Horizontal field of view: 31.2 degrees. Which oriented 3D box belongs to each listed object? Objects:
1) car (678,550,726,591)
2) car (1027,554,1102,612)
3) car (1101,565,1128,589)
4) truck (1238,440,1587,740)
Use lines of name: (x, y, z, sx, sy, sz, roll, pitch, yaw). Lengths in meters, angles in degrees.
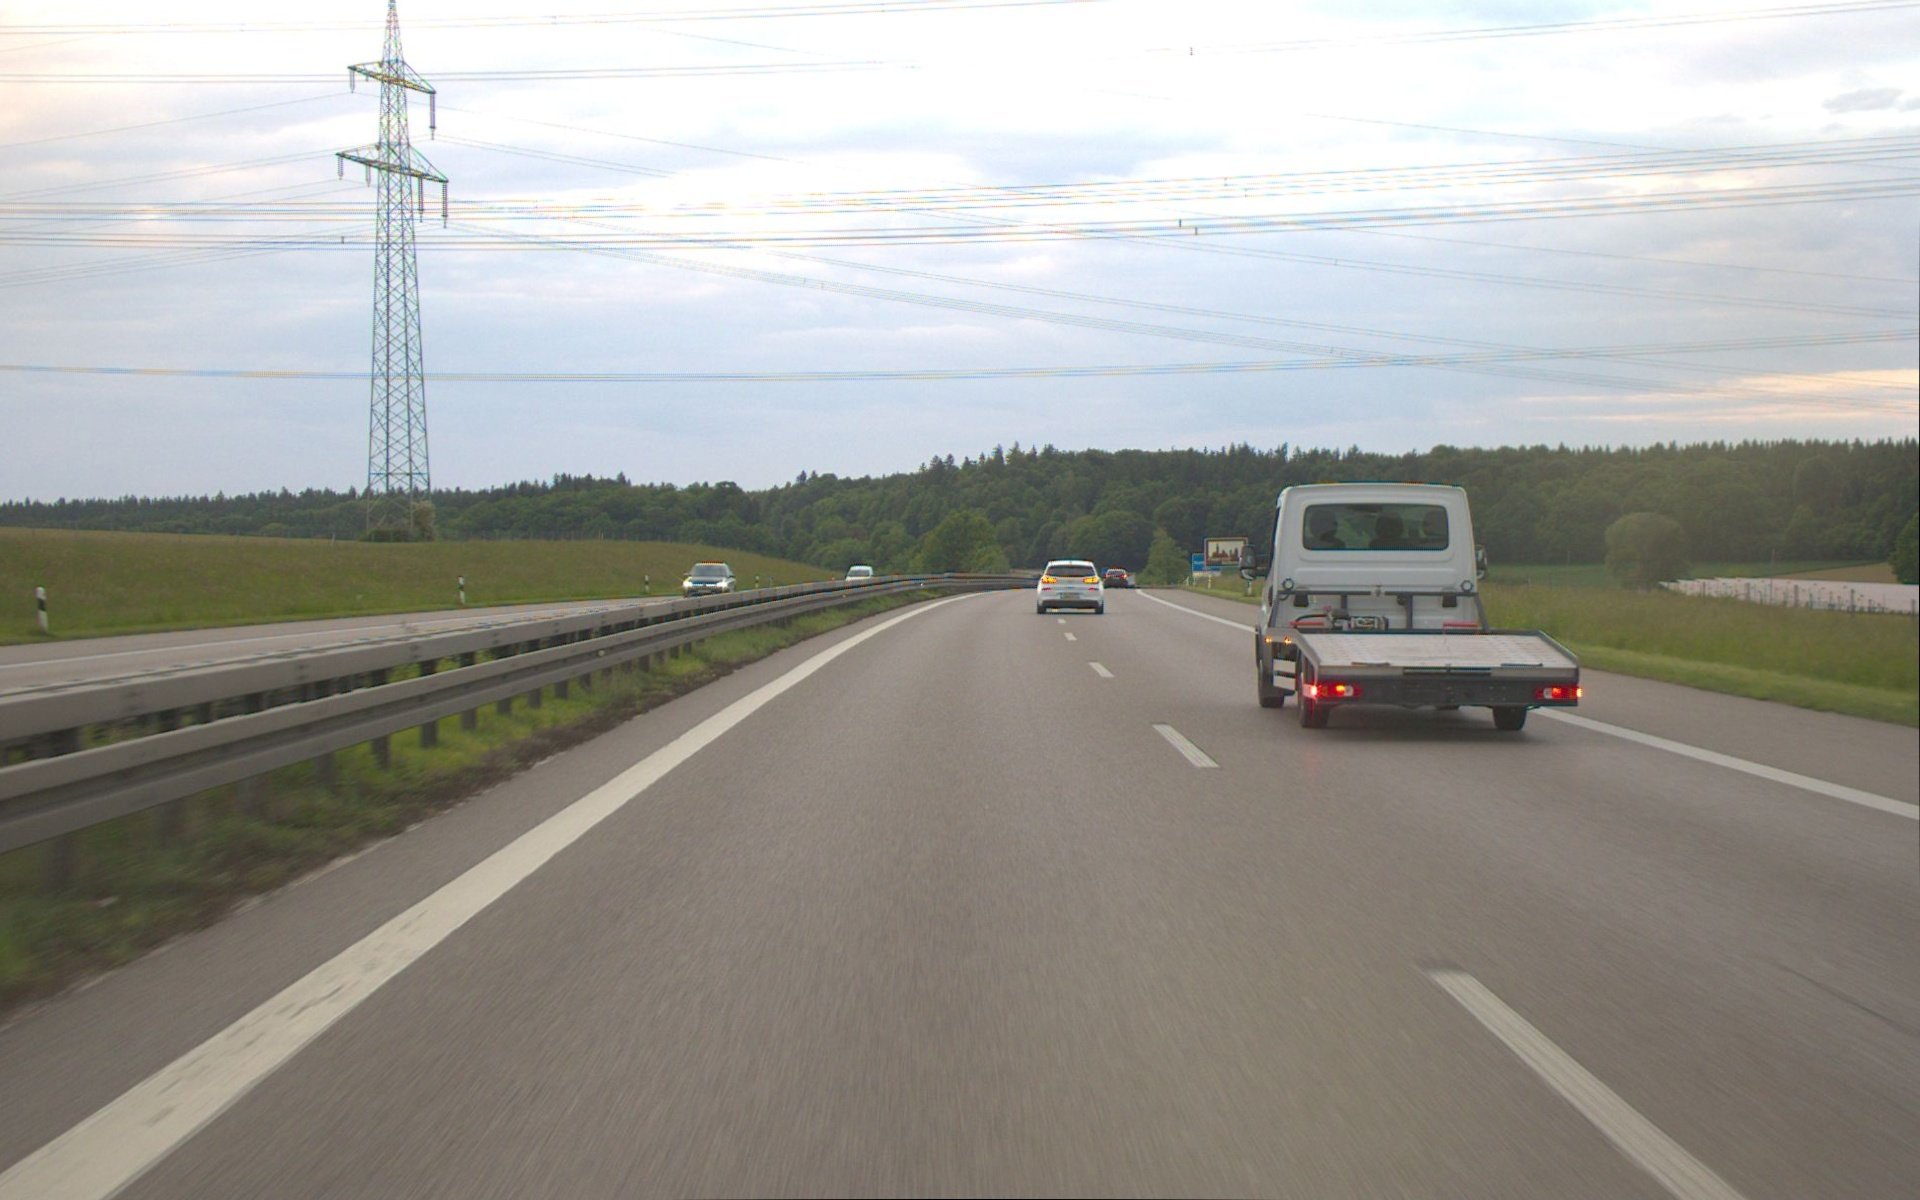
car: (-10.675, -1.233, 142.338, 1.697, 1.658, 4.464, 1, 1, -1)
car: (2.843, -0.479, 93.567, 1.952, 1.526, 4.080, 1, 1, 2)
car: (11.426, -1.685, 254.214, 1.952, 1.725, 4.080, 1, 1, 2)
truck: (3.909, -0.123, 31.195, 2.172, 2.352, 7.696, 1, 1, 0)
